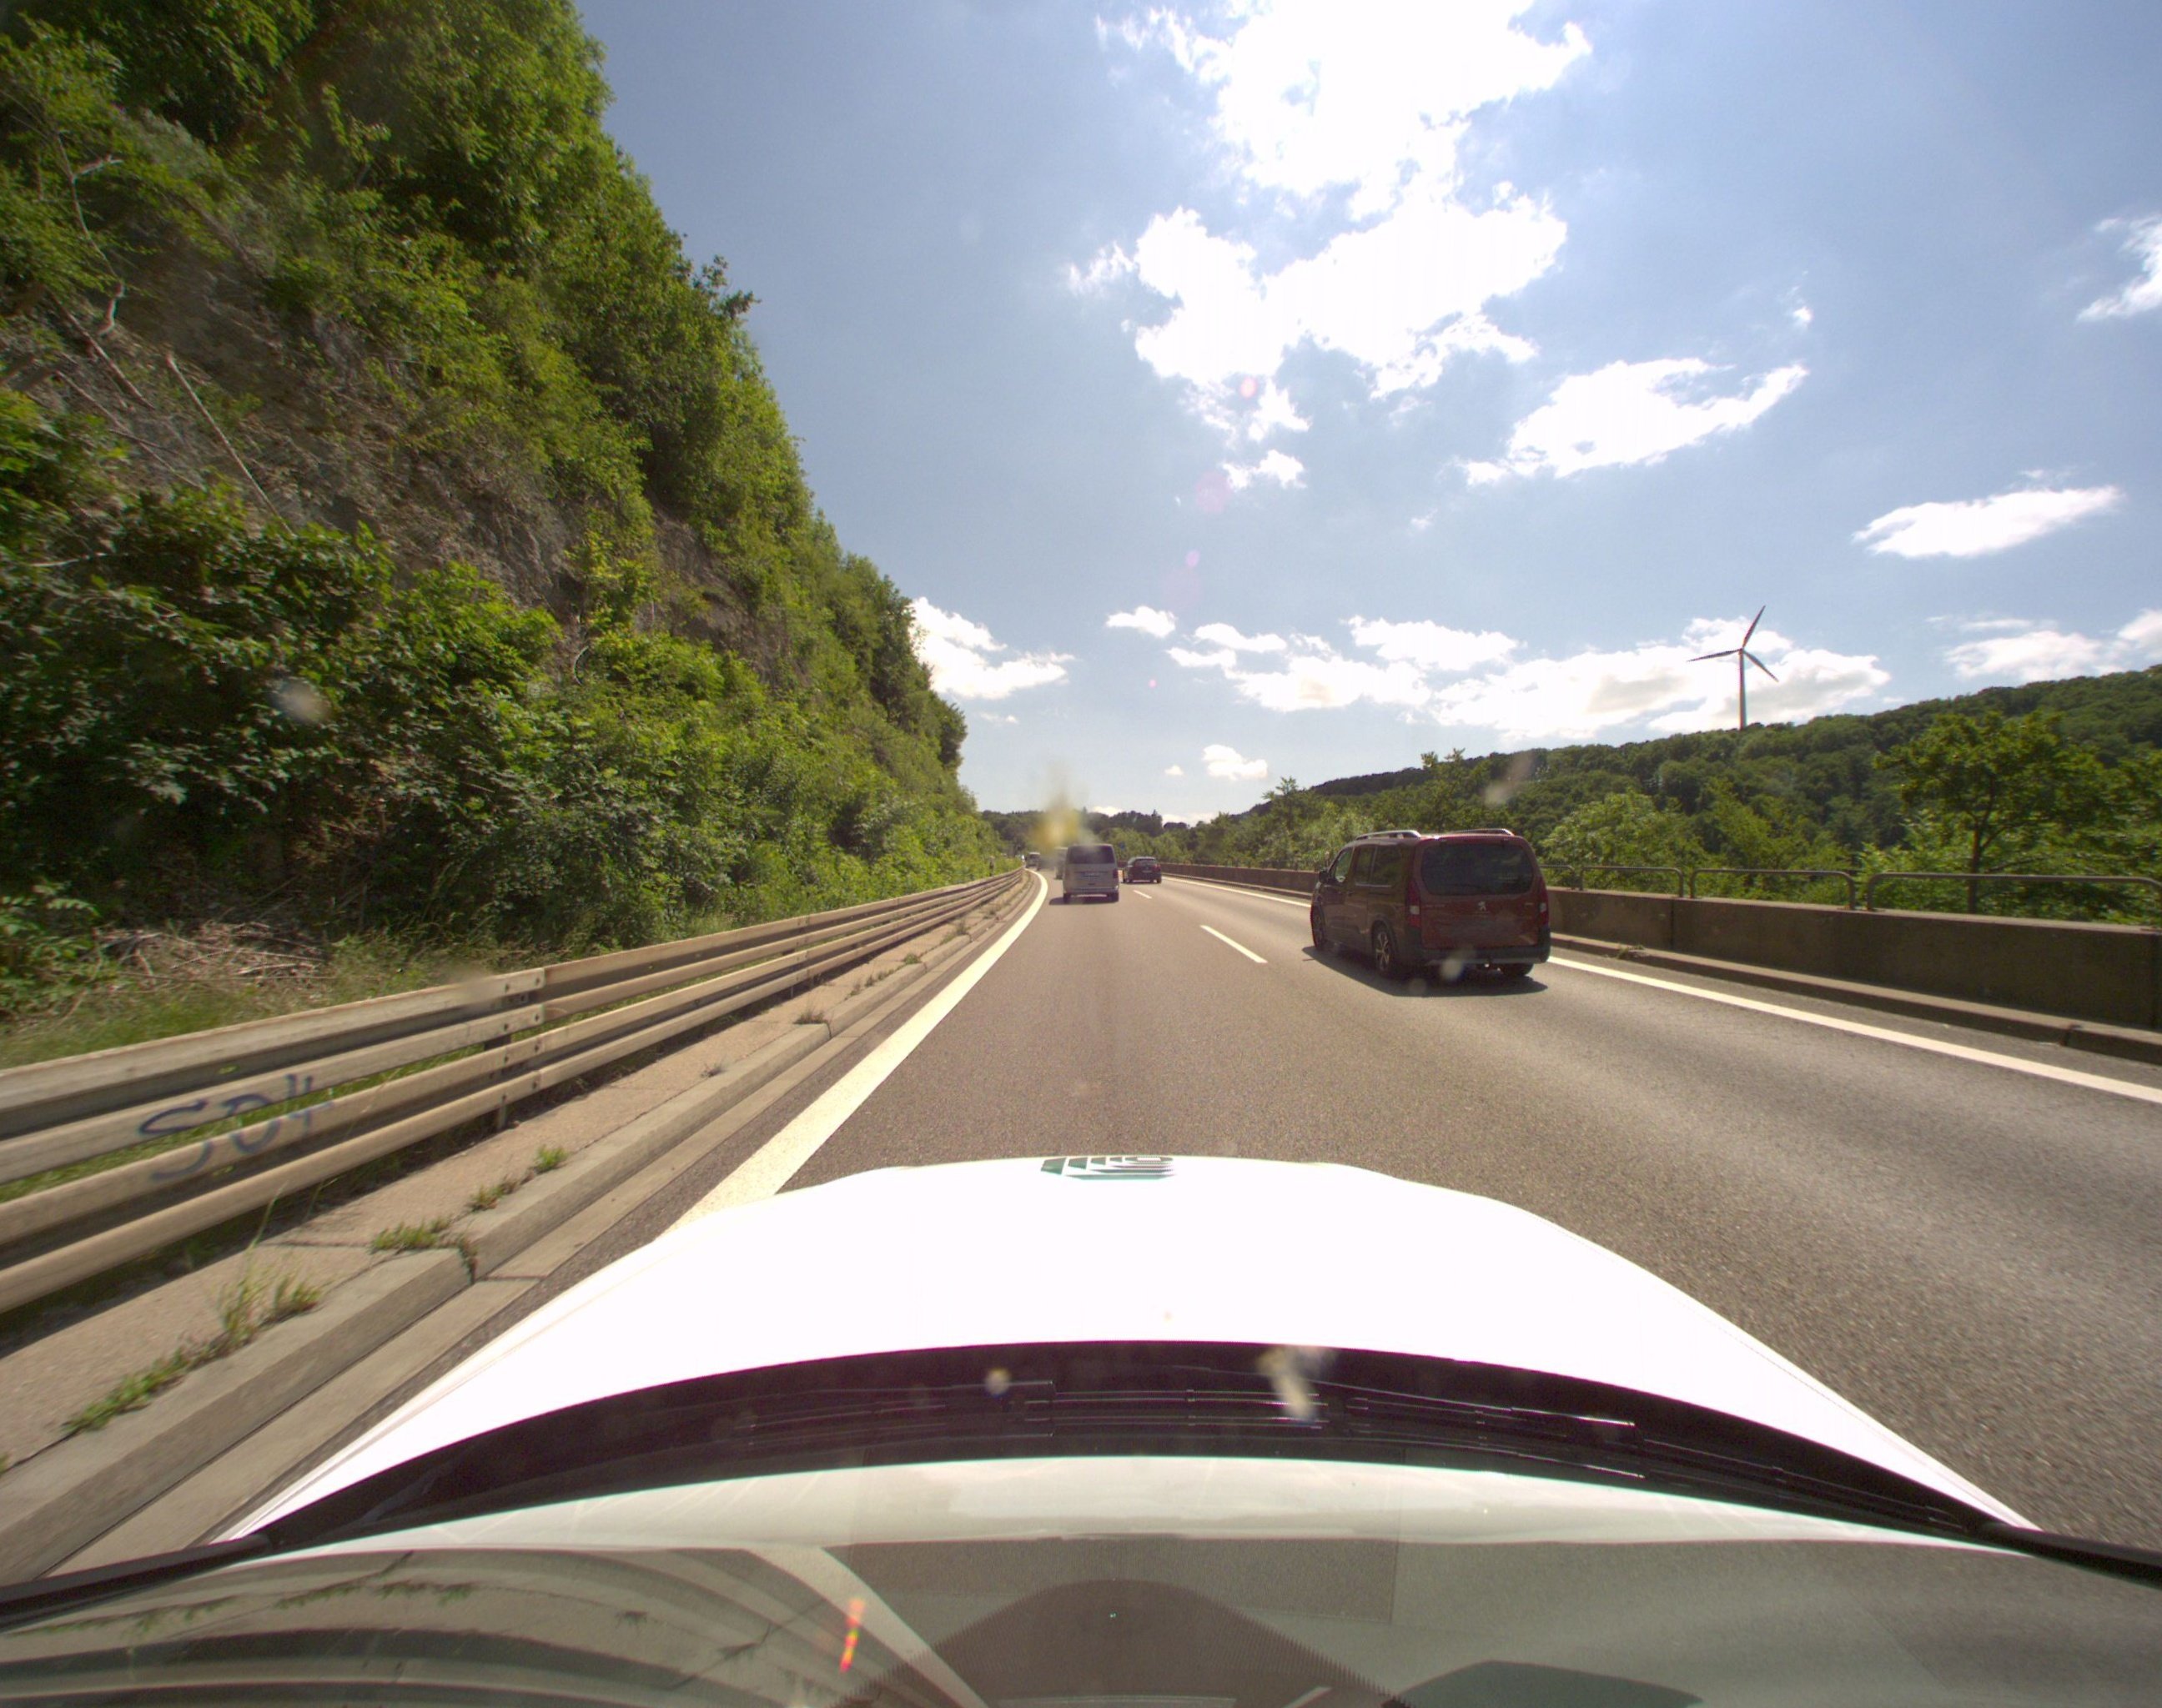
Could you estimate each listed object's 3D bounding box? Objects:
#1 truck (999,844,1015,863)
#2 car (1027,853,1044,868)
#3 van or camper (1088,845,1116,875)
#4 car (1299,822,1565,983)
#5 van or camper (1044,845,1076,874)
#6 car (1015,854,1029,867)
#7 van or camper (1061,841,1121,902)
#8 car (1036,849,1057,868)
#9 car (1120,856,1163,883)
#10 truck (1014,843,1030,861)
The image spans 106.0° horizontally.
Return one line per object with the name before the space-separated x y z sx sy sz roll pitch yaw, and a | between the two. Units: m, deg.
truck | -17.971 -0.145 196.859 3.290 4.519 7.706 -1 0 -9
car | -5.496 0.785 98.842 1.988 1.817 3.998 0 0 -1
van or camper | 1.834 0.531 72.052 2.256 2.551 4.736 -2 -1 0
car | 4.582 0.579 11.529 1.827 1.784 4.677 -1 -1 1
van or camper | -2.936 0.733 112.946 3.276 3.789 8.084 -1 0 -10
car | -9.003 1.016 123.880 1.991 1.915 3.991 0 0 -7
van or camper | 0.280 0.583 28.623 1.871 1.949 4.290 -1 0 -2
car | -3.502 0.443 82.553 1.990 1.817 3.994 0 0 -4
car | 3.332 0.833 45.140 1.766 1.376 3.585 -1 0 -6
truck | -15.018 -0.467 208.723 3.280 4.331 7.730 -2 -1 1
